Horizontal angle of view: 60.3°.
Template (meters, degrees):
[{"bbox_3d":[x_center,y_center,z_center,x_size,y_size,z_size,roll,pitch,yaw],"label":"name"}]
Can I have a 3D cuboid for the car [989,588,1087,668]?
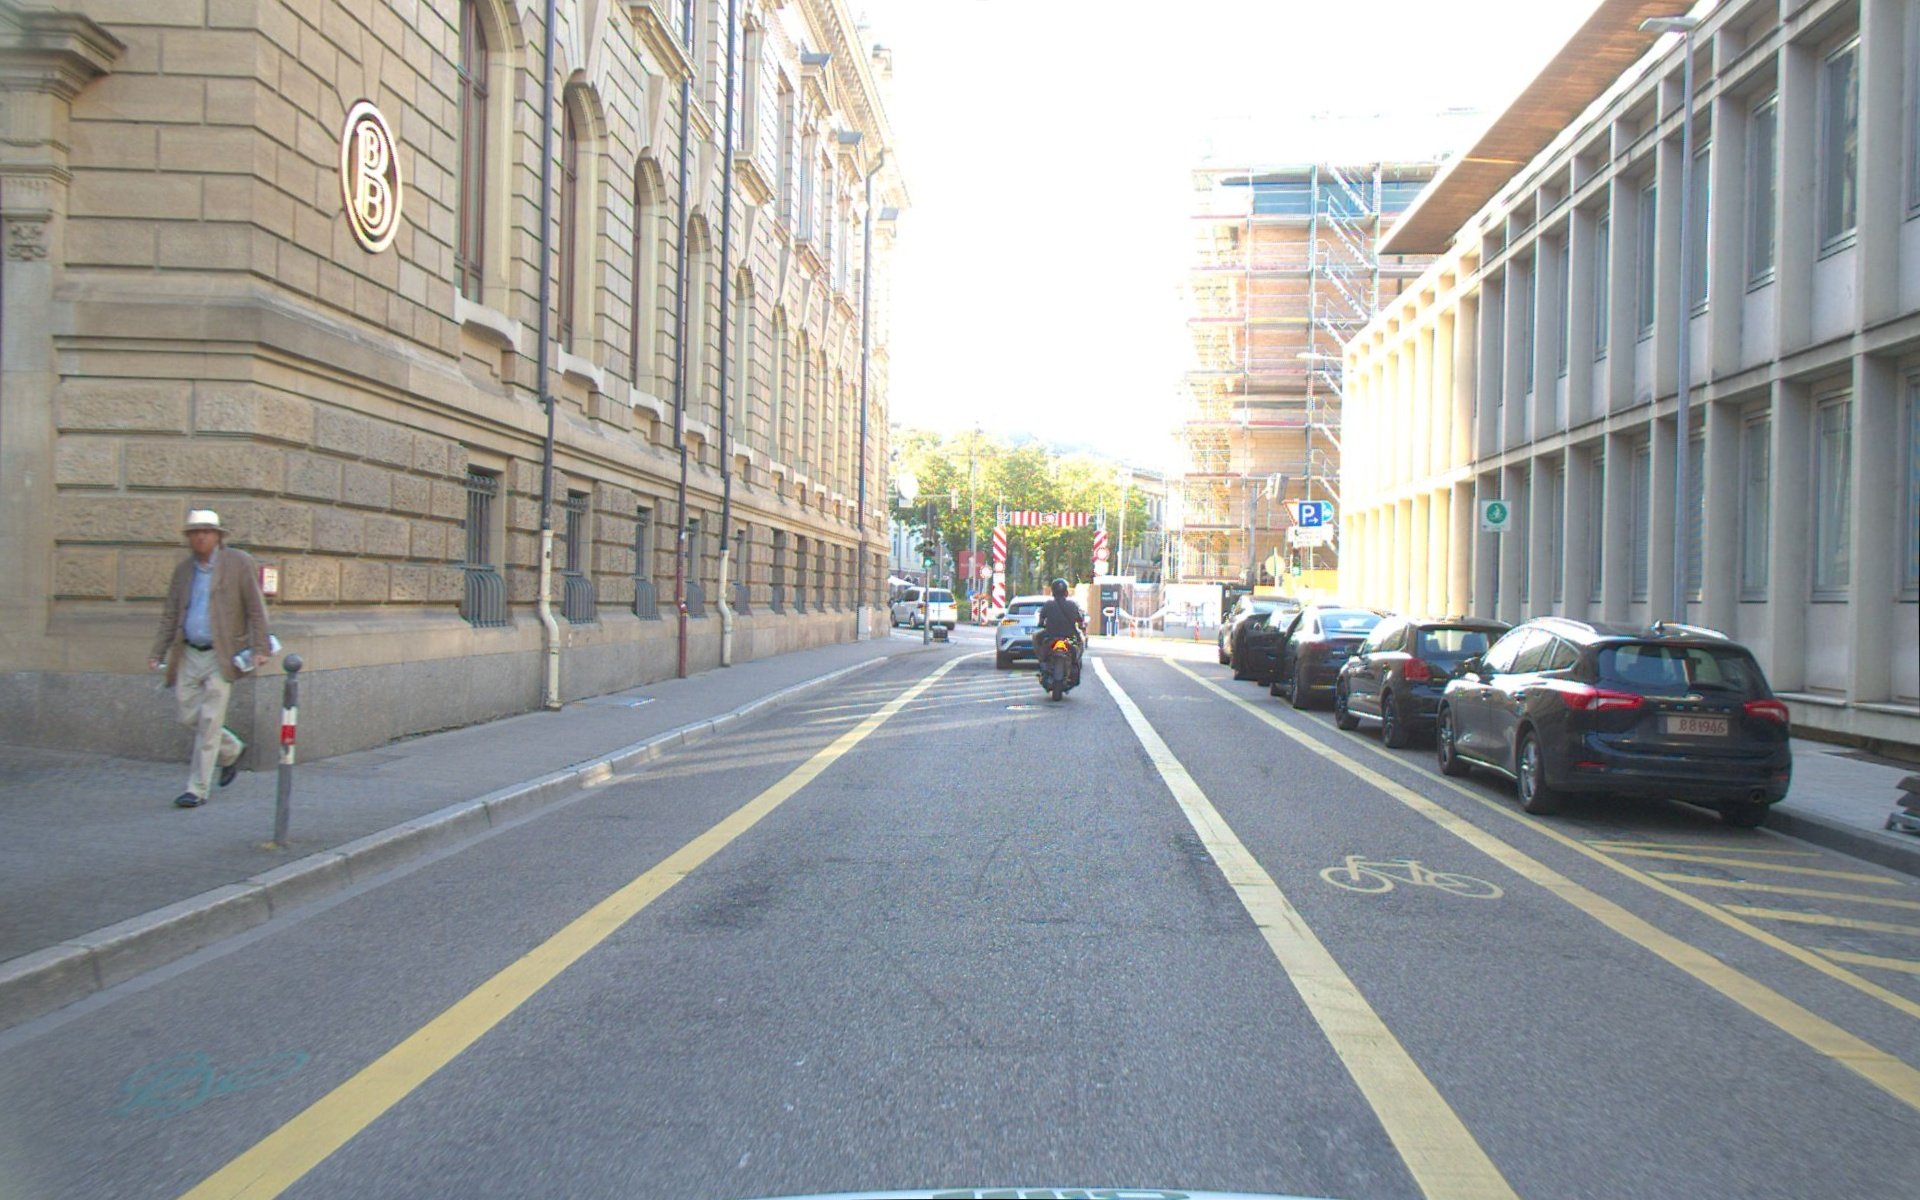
[{"bbox_3d":[1.731,0.569,35.482,1.784,1.568,4.266,2,0,6],"label":"car"}]

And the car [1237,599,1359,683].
[{"bbox_3d":[6.444,0.767,31.927,1.786,1.423,4.482,2,-1,5],"label":"car"}]

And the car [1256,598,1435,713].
[{"bbox_3d":[5.784,0.786,25.370,1.787,1.527,4.738,2,0,2],"label":"car"}]

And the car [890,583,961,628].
[{"bbox_3d":[-1.504,0.188,69.797,1.961,1.693,4.341,-2,2,-15],"label":"car"}]

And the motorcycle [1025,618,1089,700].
[{"bbox_3d":[1.415,0.823,23.818,0.854,1.129,1.841,0,-1,5],"label":"motorcycle"}]

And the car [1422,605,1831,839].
[{"bbox_3d":[5.233,0.852,13.652,1.745,1.505,4.290,2,1,2],"label":"car"}]

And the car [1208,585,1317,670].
[{"bbox_3d":[6.902,0.585,38.149,1.786,1.728,4.668,2,1,3],"label":"car"}]

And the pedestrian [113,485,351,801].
[{"bbox_3d":[-4.566,0.258,10.455,0.823,1.831,1.074,4,-1,6],"label":"pedestrian"}]

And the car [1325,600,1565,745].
[{"bbox_3d":[5.559,0.782,19.493,1.744,1.505,4.290,0,-1,2],"label":"car"}]

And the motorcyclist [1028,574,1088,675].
[{"bbox_3d":[1.422,0.355,23.960,0.849,1.452,0.456,0,-1,4],"label":"motorcyclist"}]
